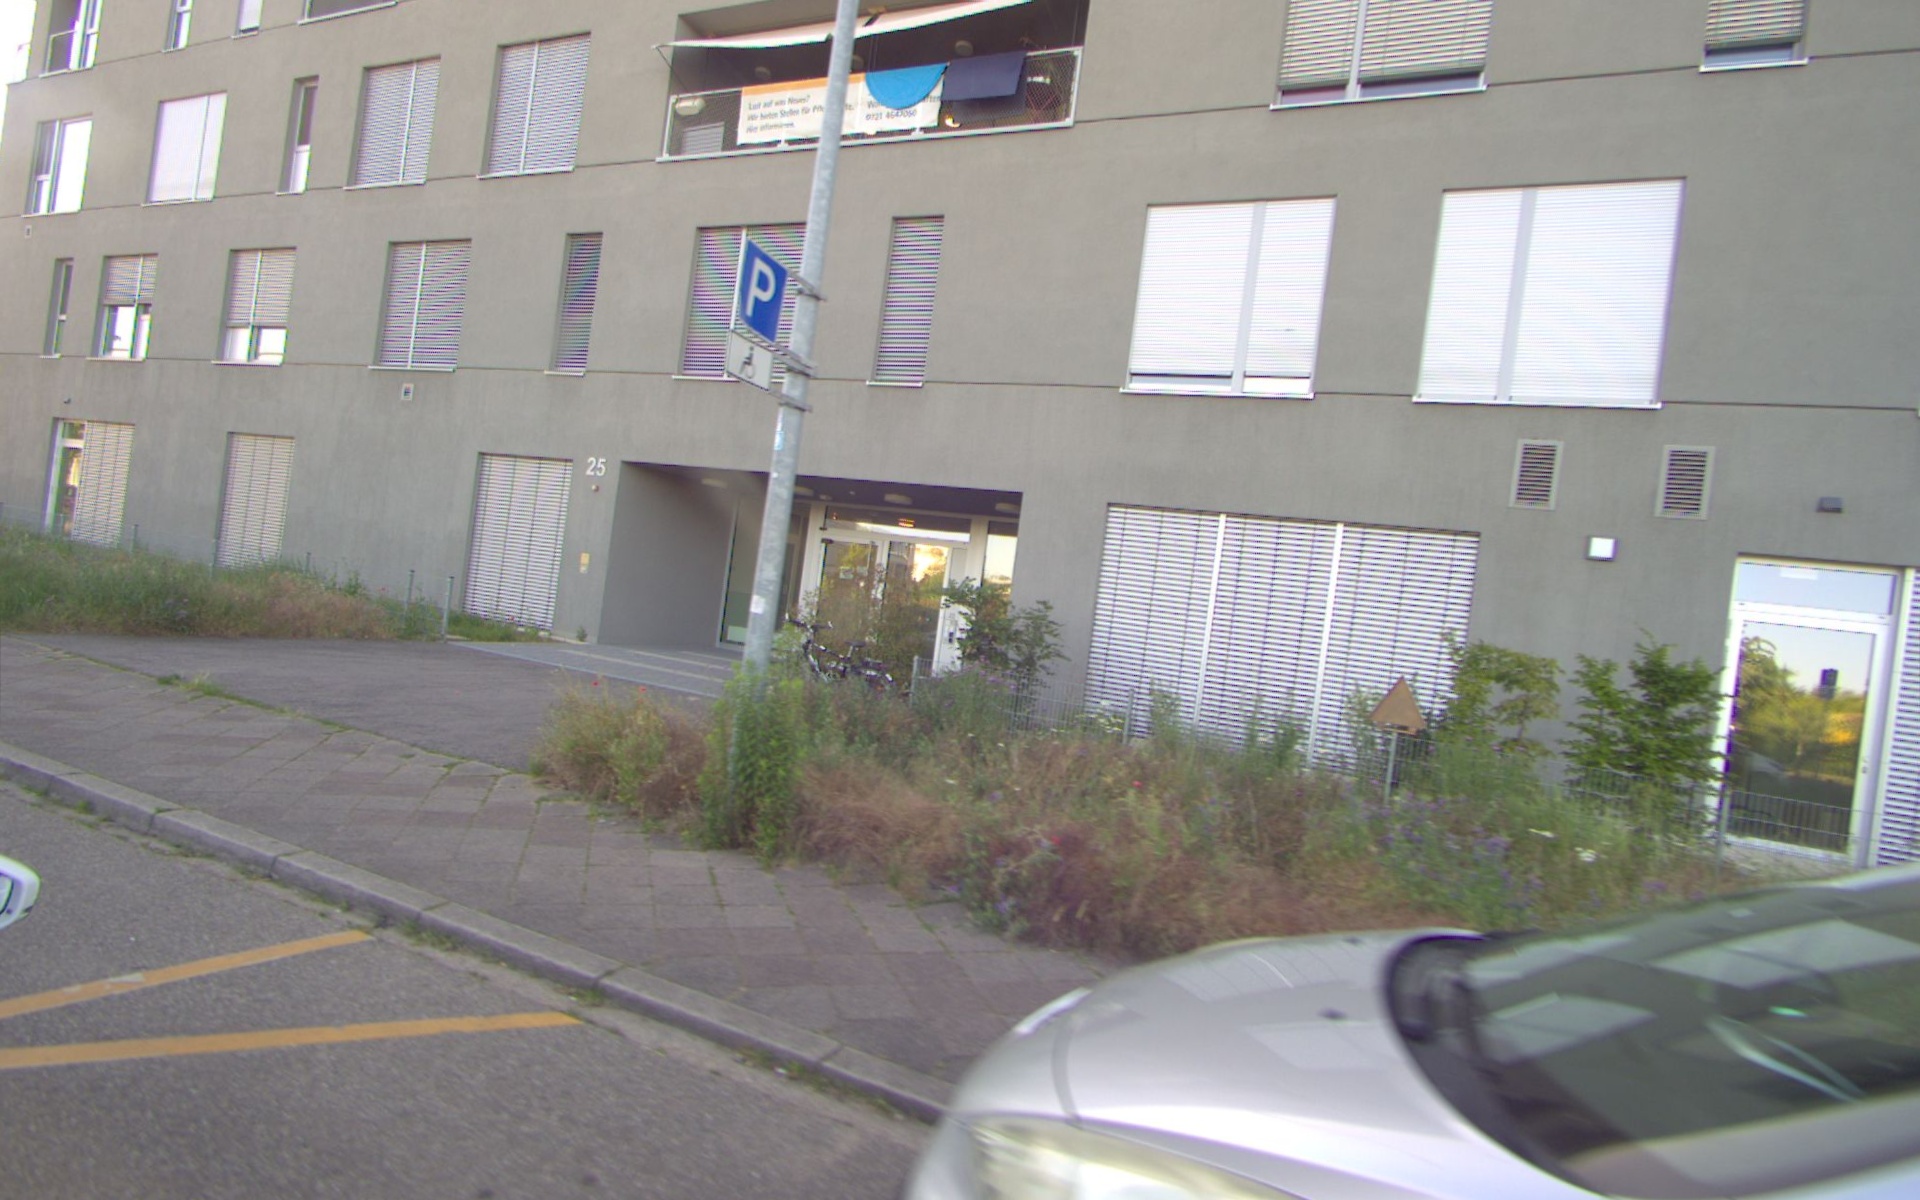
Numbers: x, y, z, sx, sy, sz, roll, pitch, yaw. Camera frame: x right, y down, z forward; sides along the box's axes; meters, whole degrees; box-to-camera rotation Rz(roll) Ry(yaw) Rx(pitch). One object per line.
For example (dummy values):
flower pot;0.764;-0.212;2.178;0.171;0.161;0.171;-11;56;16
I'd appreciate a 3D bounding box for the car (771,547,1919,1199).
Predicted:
car;1.936;1.026;1.265;4.081;1.543;1.713;7;-3;26

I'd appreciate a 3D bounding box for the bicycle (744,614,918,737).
bicycle;-1.439;0.813;11.110;1.810;1.073;0.553;7;-1;29

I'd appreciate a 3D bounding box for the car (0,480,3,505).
car;-32.786;-3.397;31.735;1.685;1.475;3.333;8;-1;30
